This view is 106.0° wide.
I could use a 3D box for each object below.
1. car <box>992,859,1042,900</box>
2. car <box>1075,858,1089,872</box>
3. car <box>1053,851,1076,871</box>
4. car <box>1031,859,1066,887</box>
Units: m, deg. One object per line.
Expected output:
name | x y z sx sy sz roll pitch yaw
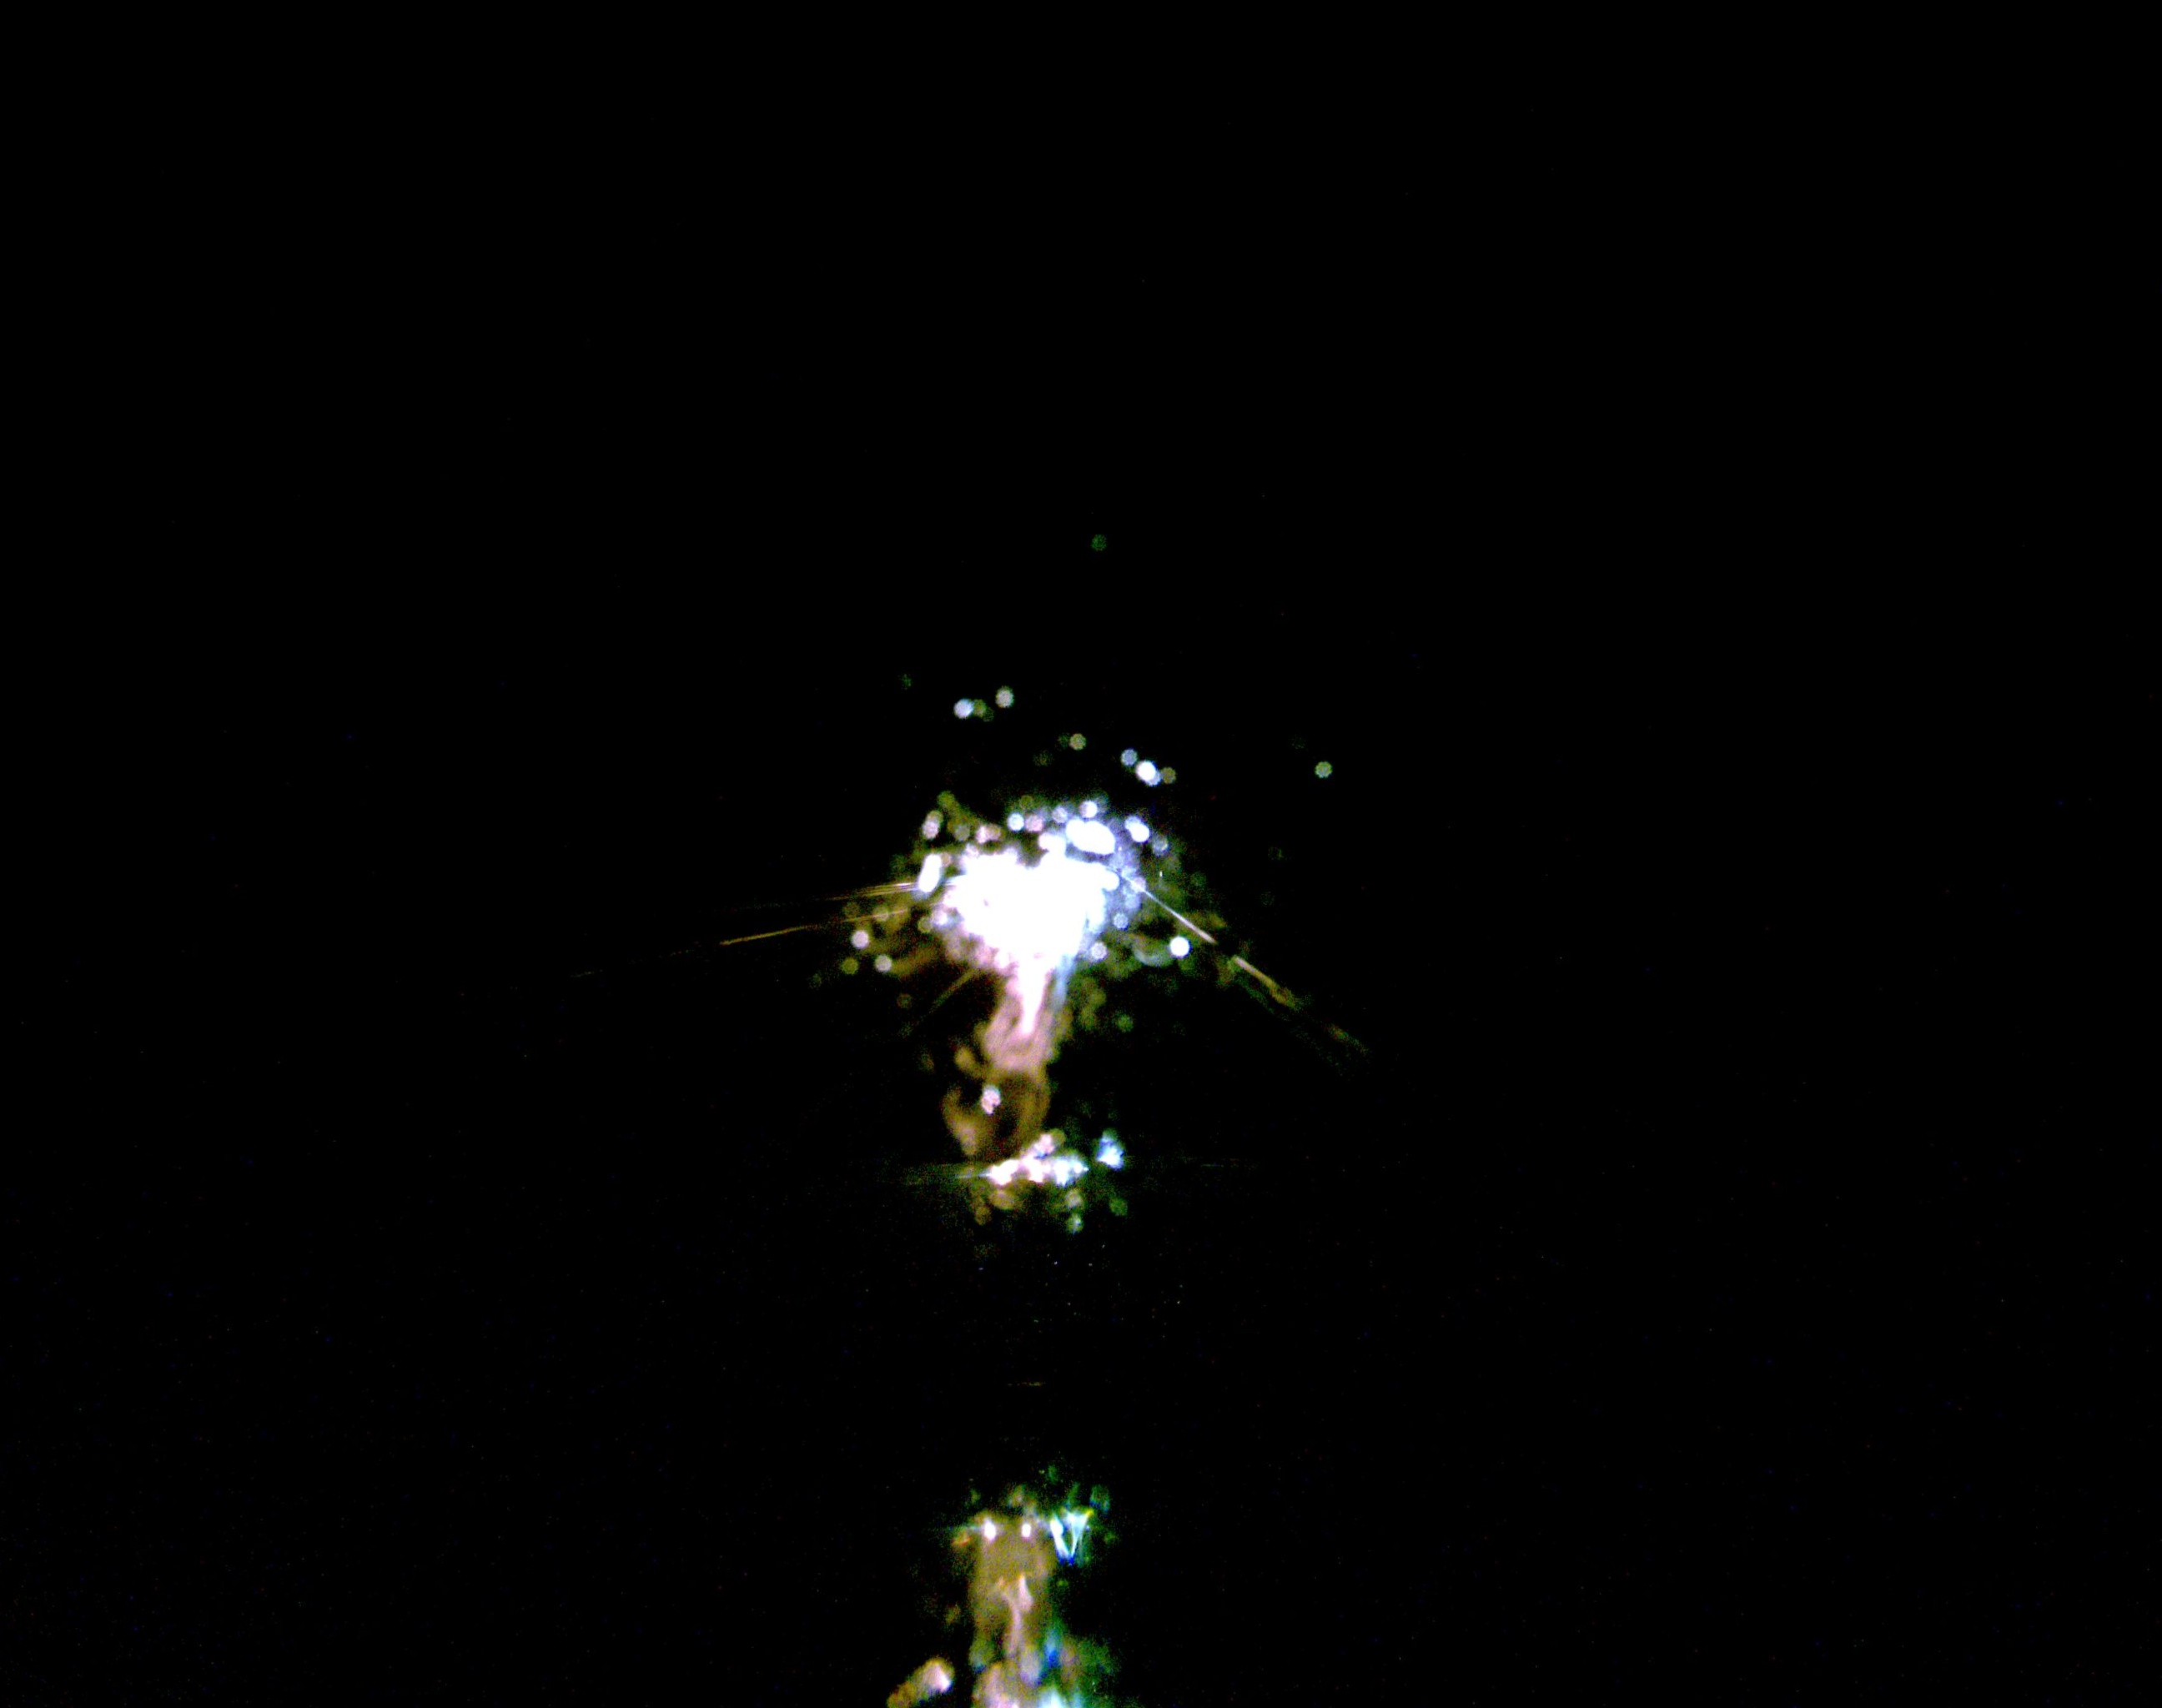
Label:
car | -2.594 1.014 33.627 1.695 1.467 4.041 -2 0 0
car | 0.183 1.690 123.189 1.772 1.880 4.001 -5 -1 3
car | -1.551 0.690 77.491 2.033 1.607 3.997 -5 -1 -1
car | -2.101 1.234 54.092 1.882 1.635 4.392 -5 -1 1
